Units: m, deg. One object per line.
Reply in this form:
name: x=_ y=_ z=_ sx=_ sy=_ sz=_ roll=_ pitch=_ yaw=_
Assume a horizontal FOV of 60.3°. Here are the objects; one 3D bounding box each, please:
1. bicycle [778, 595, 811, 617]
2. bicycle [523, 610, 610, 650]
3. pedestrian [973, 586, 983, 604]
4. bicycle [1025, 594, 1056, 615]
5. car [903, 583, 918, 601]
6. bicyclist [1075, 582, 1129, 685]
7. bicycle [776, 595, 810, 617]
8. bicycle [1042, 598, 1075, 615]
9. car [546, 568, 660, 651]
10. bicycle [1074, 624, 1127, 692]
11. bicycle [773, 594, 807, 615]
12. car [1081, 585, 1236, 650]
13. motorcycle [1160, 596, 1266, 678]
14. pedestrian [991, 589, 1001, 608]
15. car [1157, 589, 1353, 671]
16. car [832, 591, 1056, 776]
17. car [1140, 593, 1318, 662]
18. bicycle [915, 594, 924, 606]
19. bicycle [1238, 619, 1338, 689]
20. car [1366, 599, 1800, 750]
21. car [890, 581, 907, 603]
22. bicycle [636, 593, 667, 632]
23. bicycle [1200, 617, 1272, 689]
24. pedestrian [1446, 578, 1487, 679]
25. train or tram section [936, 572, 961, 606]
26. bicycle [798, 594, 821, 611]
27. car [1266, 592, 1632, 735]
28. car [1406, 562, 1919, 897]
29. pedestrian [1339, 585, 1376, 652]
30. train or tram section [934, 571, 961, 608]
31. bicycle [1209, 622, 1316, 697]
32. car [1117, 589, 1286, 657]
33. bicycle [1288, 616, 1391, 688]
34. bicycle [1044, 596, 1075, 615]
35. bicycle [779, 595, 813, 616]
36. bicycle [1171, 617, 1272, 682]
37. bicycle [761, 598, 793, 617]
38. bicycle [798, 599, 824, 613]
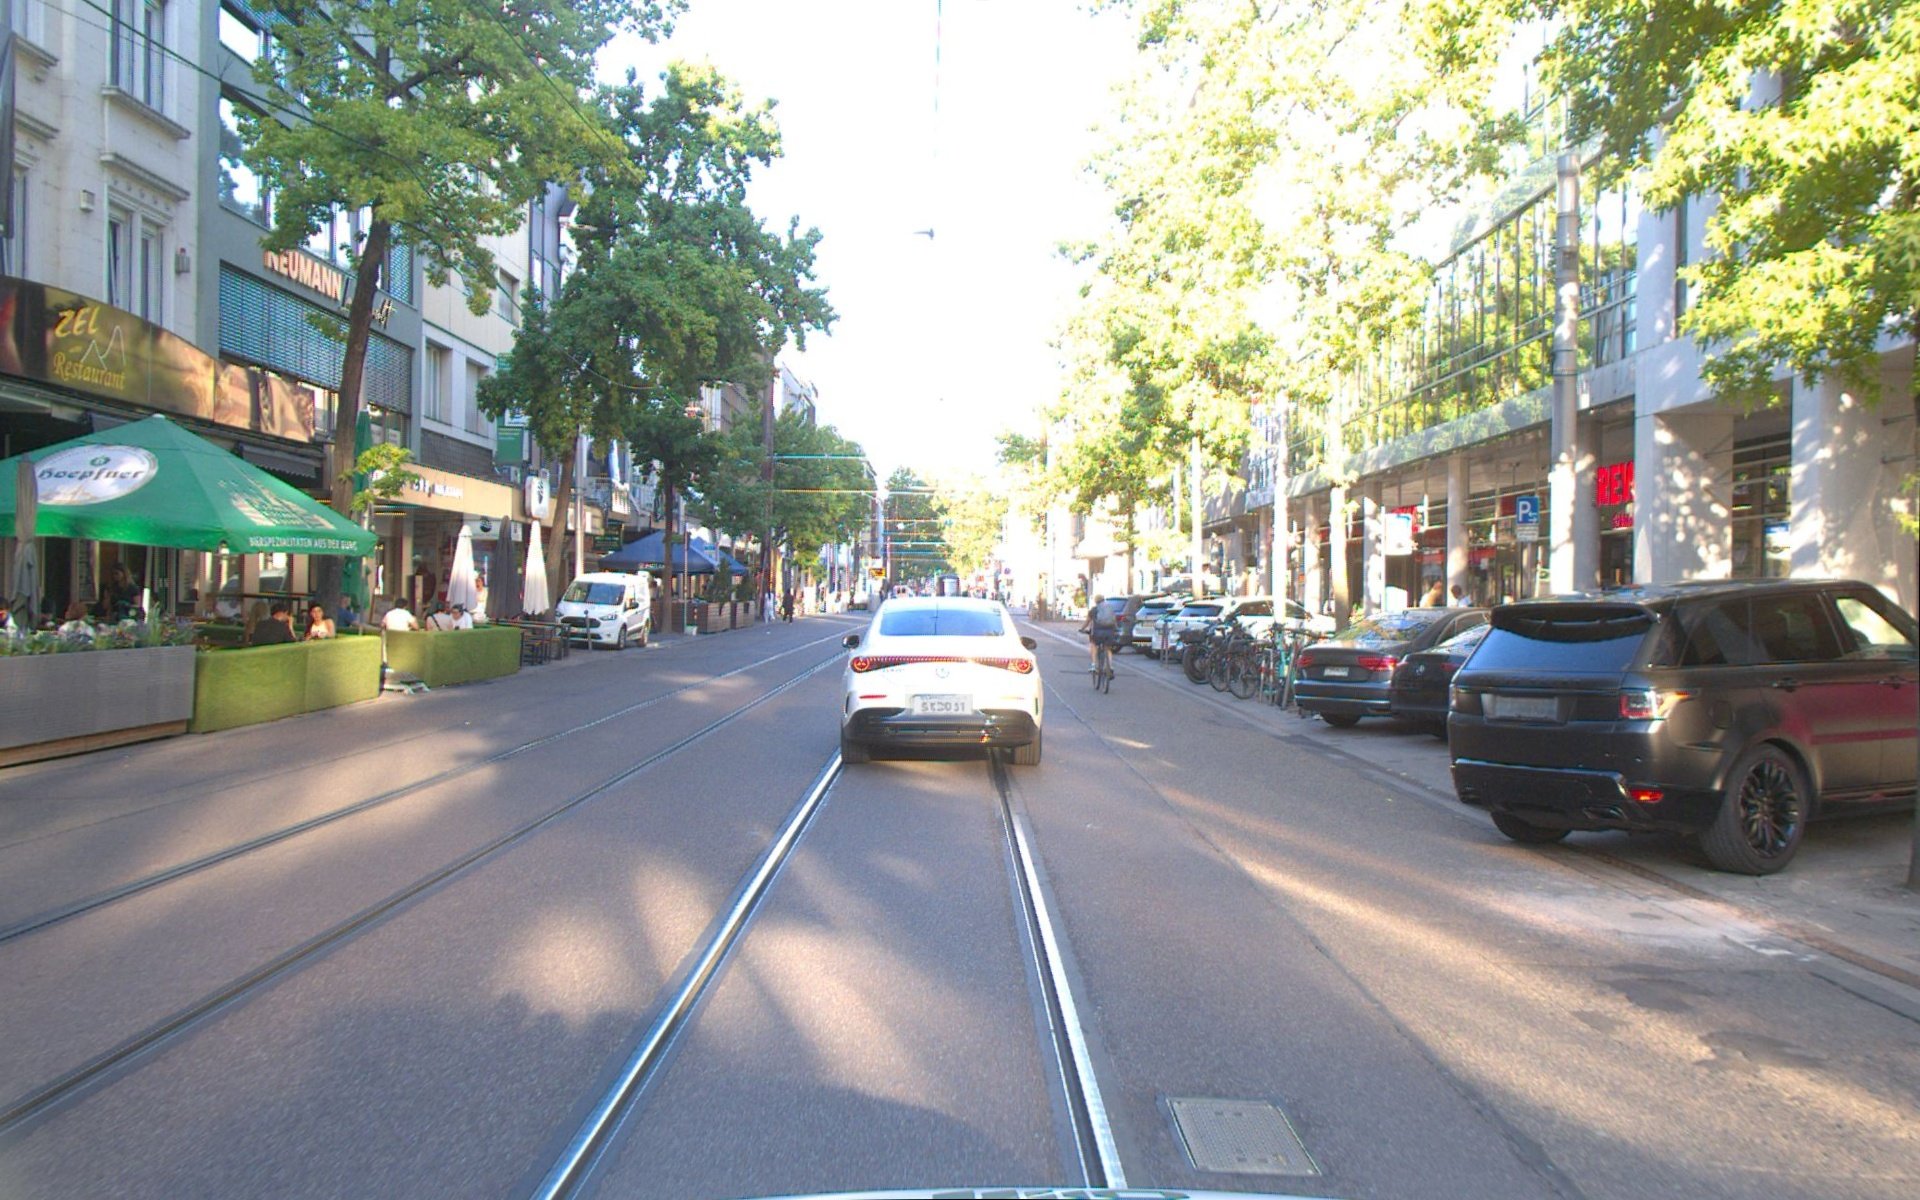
bicycle: x=-8.955 y=0.316 z=89.432 sx=1.754 sy=1.096 sz=0.377 roll=2 pitch=0 yaw=-5
bicycle: x=-9.215 y=0.710 z=38.810 sx=0.821 sy=0.880 sz=1.852 roll=3 pitch=1 yaw=38
pedestrian: x=1.838 y=-0.529 z=165.520 sx=0.941 sy=1.816 sz=0.803 roll=-1 pitch=0 yaw=-1
bicycle: x=5.175 y=0.313 z=106.650 sx=1.874 sy=1.303 sz=0.608 roll=-1 pitch=0 yaw=-12
car: x=-7.069 y=-1.115 z=236.348 sx=1.870 sy=2.504 sz=5.275 roll=0 pitch=0 yaw=0
bicyclist: x=2.350 y=0.543 z=27.287 sx=0.761 sy=1.641 sz=0.913 roll=2 pitch=0 yaw=9
bicycle: x=-8.986 y=0.315 z=88.989 sx=1.754 sy=1.096 sz=0.377 roll=2 pitch=0 yaw=-5
bicycle: x=6.490 y=0.400 z=108.977 sx=2.077 sy=1.115 sz=0.608 roll=0 pitch=0 yaw=-13
car: x=-9.037 y=0.211 z=42.219 sx=1.759 sy=1.897 sz=4.554 roll=3 pitch=0 yaw=1
bicycle: x=2.346 y=0.945 z=27.370 sx=0.703 sy=1.012 sz=2.060 roll=2 pitch=0 yaw=9
bicycle: x=-9.559 y=0.244 z=93.139 sx=1.808 sy=1.160 sz=0.377 roll=2 pitch=0 yaw=1
car: x=5.741 y=0.481 z=47.680 sx=4.300 sy=1.681 sz=1.676 roll=-2 pitch=0 yaw=-32
motorcycle: x=5.079 y=0.726 z=33.087 sx=2.302 sy=1.536 sz=0.845 roll=-2 pitch=0 yaw=-44
pedestrian: x=3.600 y=-0.177 z=163.560 sx=0.941 sy=1.816 sz=0.803 roll=-1 pitch=0 yaw=-1
car: x=6.499 y=0.621 z=36.310 sx=4.109 sy=1.598 sz=1.833 roll=-2 pitch=1 yaw=-34
car: x=-0.144 y=0.682 z=15.784 sx=1.819 sy=1.481 sz=4.174 roll=1 pitch=0 yaw=-1
car: x=6.672 y=0.658 z=41.011 sx=4.092 sy=1.525 sz=1.676 roll=-2 pitch=0 yaw=-24
bicycle: x=-4.075 y=0.006 z=165.985 sx=0.784 sy=1.162 sz=2.256 roll=2 pitch=0 yaw=-2
bicycle: x=5.818 y=0.941 z=29.294 sx=1.669 sy=1.125 sz=0.627 roll=-3 pitch=0 yaw=-27
car: x=7.167 y=0.785 z=19.056 sx=4.586 sy=1.451 sz=1.921 roll=-2 pitch=0 yaw=-22
car: x=-8.105 y=-1.044 z=217.676 sx=1.953 sy=2.948 sz=5.275 roll=0 pitch=0 yaw=0
bicycle: x=-9.932 y=0.395 z=53.214 sx=0.686 sy=1.140 sz=2.076 roll=3 pitch=1 yaw=-18
bicycle: x=4.948 y=0.944 z=29.570 sx=0.472 sy=1.183 sz=1.687 roll=-3 pitch=0 yaw=39
pedestrian: x=9.047 y=0.499 z=29.549 sx=0.512 sy=1.781 sz=0.559 roll=-2 pitch=0 yaw=2
train or tram section: x=-1.256 y=-1.152 z=179.702 sx=2.639 sy=3.578 sz=12.544 roll=0 pitch=0 yaw=0
bicycle: x=-9.865 y=0.173 z=108.211 sx=1.465 sy=1.047 sz=0.344 roll=2 pitch=0 yaw=-11
car: x=6.467 y=0.748 z=21.595 sx=5.006 sy=1.494 sz=1.952 roll=-3 pitch=0 yaw=-37
car: x=5.446 y=0.686 z=11.227 sx=4.602 sy=1.794 sz=1.975 roll=-2 pitch=0 yaw=-30
pedestrian: x=10.039 y=0.454 z=41.769 sx=0.699 sy=1.652 sz=0.882 roll=-1 pitch=0 yaw=1
train or tram section: x=-1.215 y=-1.089 z=167.150 sx=2.639 sy=3.578 sz=12.544 roll=0 pitch=0 yaw=0
bicycle: x=5.002 y=0.961 z=27.324 sx=1.542 sy=1.107 sz=0.860 roll=-3 pitch=2 yaw=-31
car: x=6.400 y=0.580 z=43.759 sx=4.194 sy=1.615 sz=1.864 roll=-2 pitch=0 yaw=-32
bicycle: x=6.473 y=0.871 z=28.205 sx=1.652 sy=1.093 sz=0.725 roll=-3 pitch=2 yaw=-31
bicycle: x=6.359 y=0.341 z=105.852 sx=1.874 sy=1.177 sz=0.608 roll=-1 pitch=0 yaw=-12
bicycle: x=-8.981 y=0.323 z=90.675 sx=1.810 sy=1.096 sz=0.377 roll=2 pitch=0 yaw=-5
bicycle: x=4.988 y=0.929 z=31.519 sx=1.870 sy=1.139 sz=0.661 roll=-2 pitch=0 yaw=-30
bicycle: x=-9.532 y=0.380 z=86.051 sx=1.562 sy=0.947 sz=0.377 roll=2 pitch=0 yaw=6
bicycle: x=-8.807 y=0.363 z=97.781 sx=1.462 sy=0.797 sz=0.344 roll=2 pitch=0 yaw=1
